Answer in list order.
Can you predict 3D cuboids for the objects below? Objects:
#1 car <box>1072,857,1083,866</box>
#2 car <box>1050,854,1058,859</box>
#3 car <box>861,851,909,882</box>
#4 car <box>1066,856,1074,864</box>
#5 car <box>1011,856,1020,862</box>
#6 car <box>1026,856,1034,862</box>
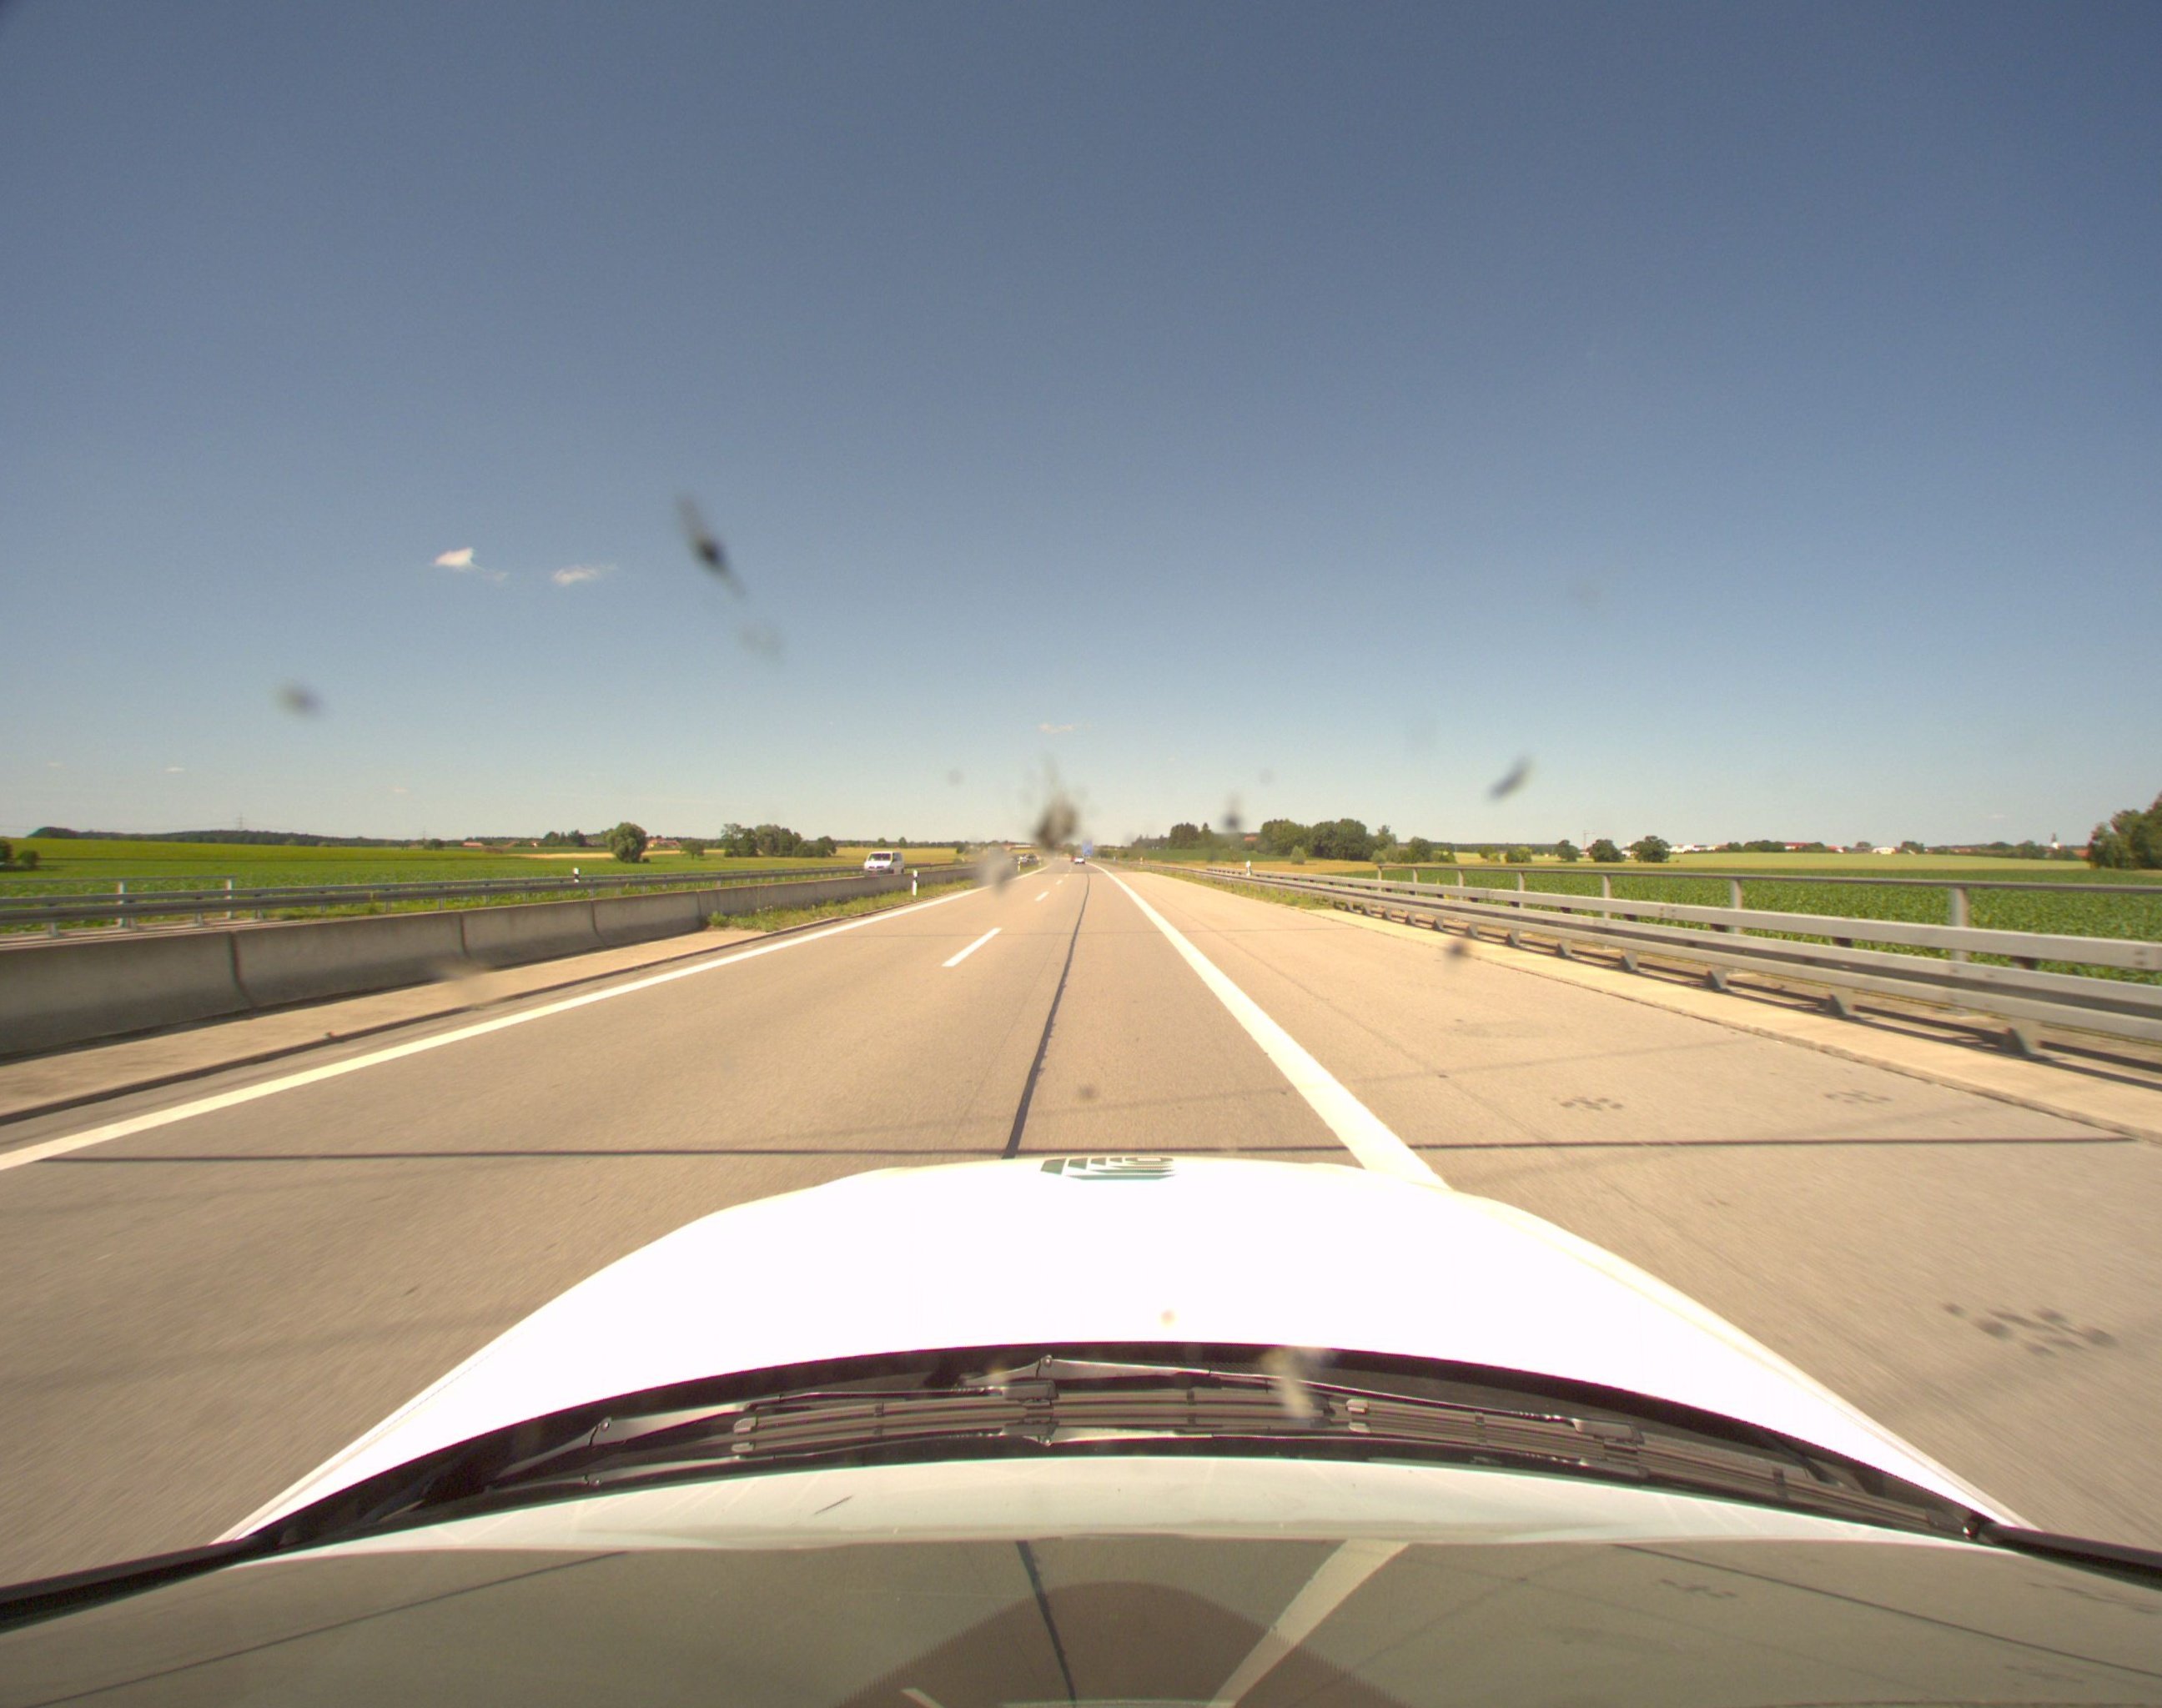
[{"bbox_3d":[-0.729,1.380,151.203,1.988,1.731,4.866,0,0,-2],"label":"car"},{"bbox_3d":[-8.417,0.745,253.905,1.994,1.731,4.851,0,0,-10],"label":"car"},{"bbox_3d":[-13.686,0.861,57.202,1.987,2.014,5.614,-1,-1,1],"label":"car"},{"bbox_3d":[-2.714,1.464,201.660,1.989,1.731,4.864,0,0,-3],"label":"car"},{"bbox_3d":[-15.881,1.298,197.377,1.818,1.365,4.659,-2,0,-2],"label":"car"},{"bbox_3d":[-12.701,1.294,203.788,1.819,1.365,5.191,-2,0,-3],"label":"car"}]
